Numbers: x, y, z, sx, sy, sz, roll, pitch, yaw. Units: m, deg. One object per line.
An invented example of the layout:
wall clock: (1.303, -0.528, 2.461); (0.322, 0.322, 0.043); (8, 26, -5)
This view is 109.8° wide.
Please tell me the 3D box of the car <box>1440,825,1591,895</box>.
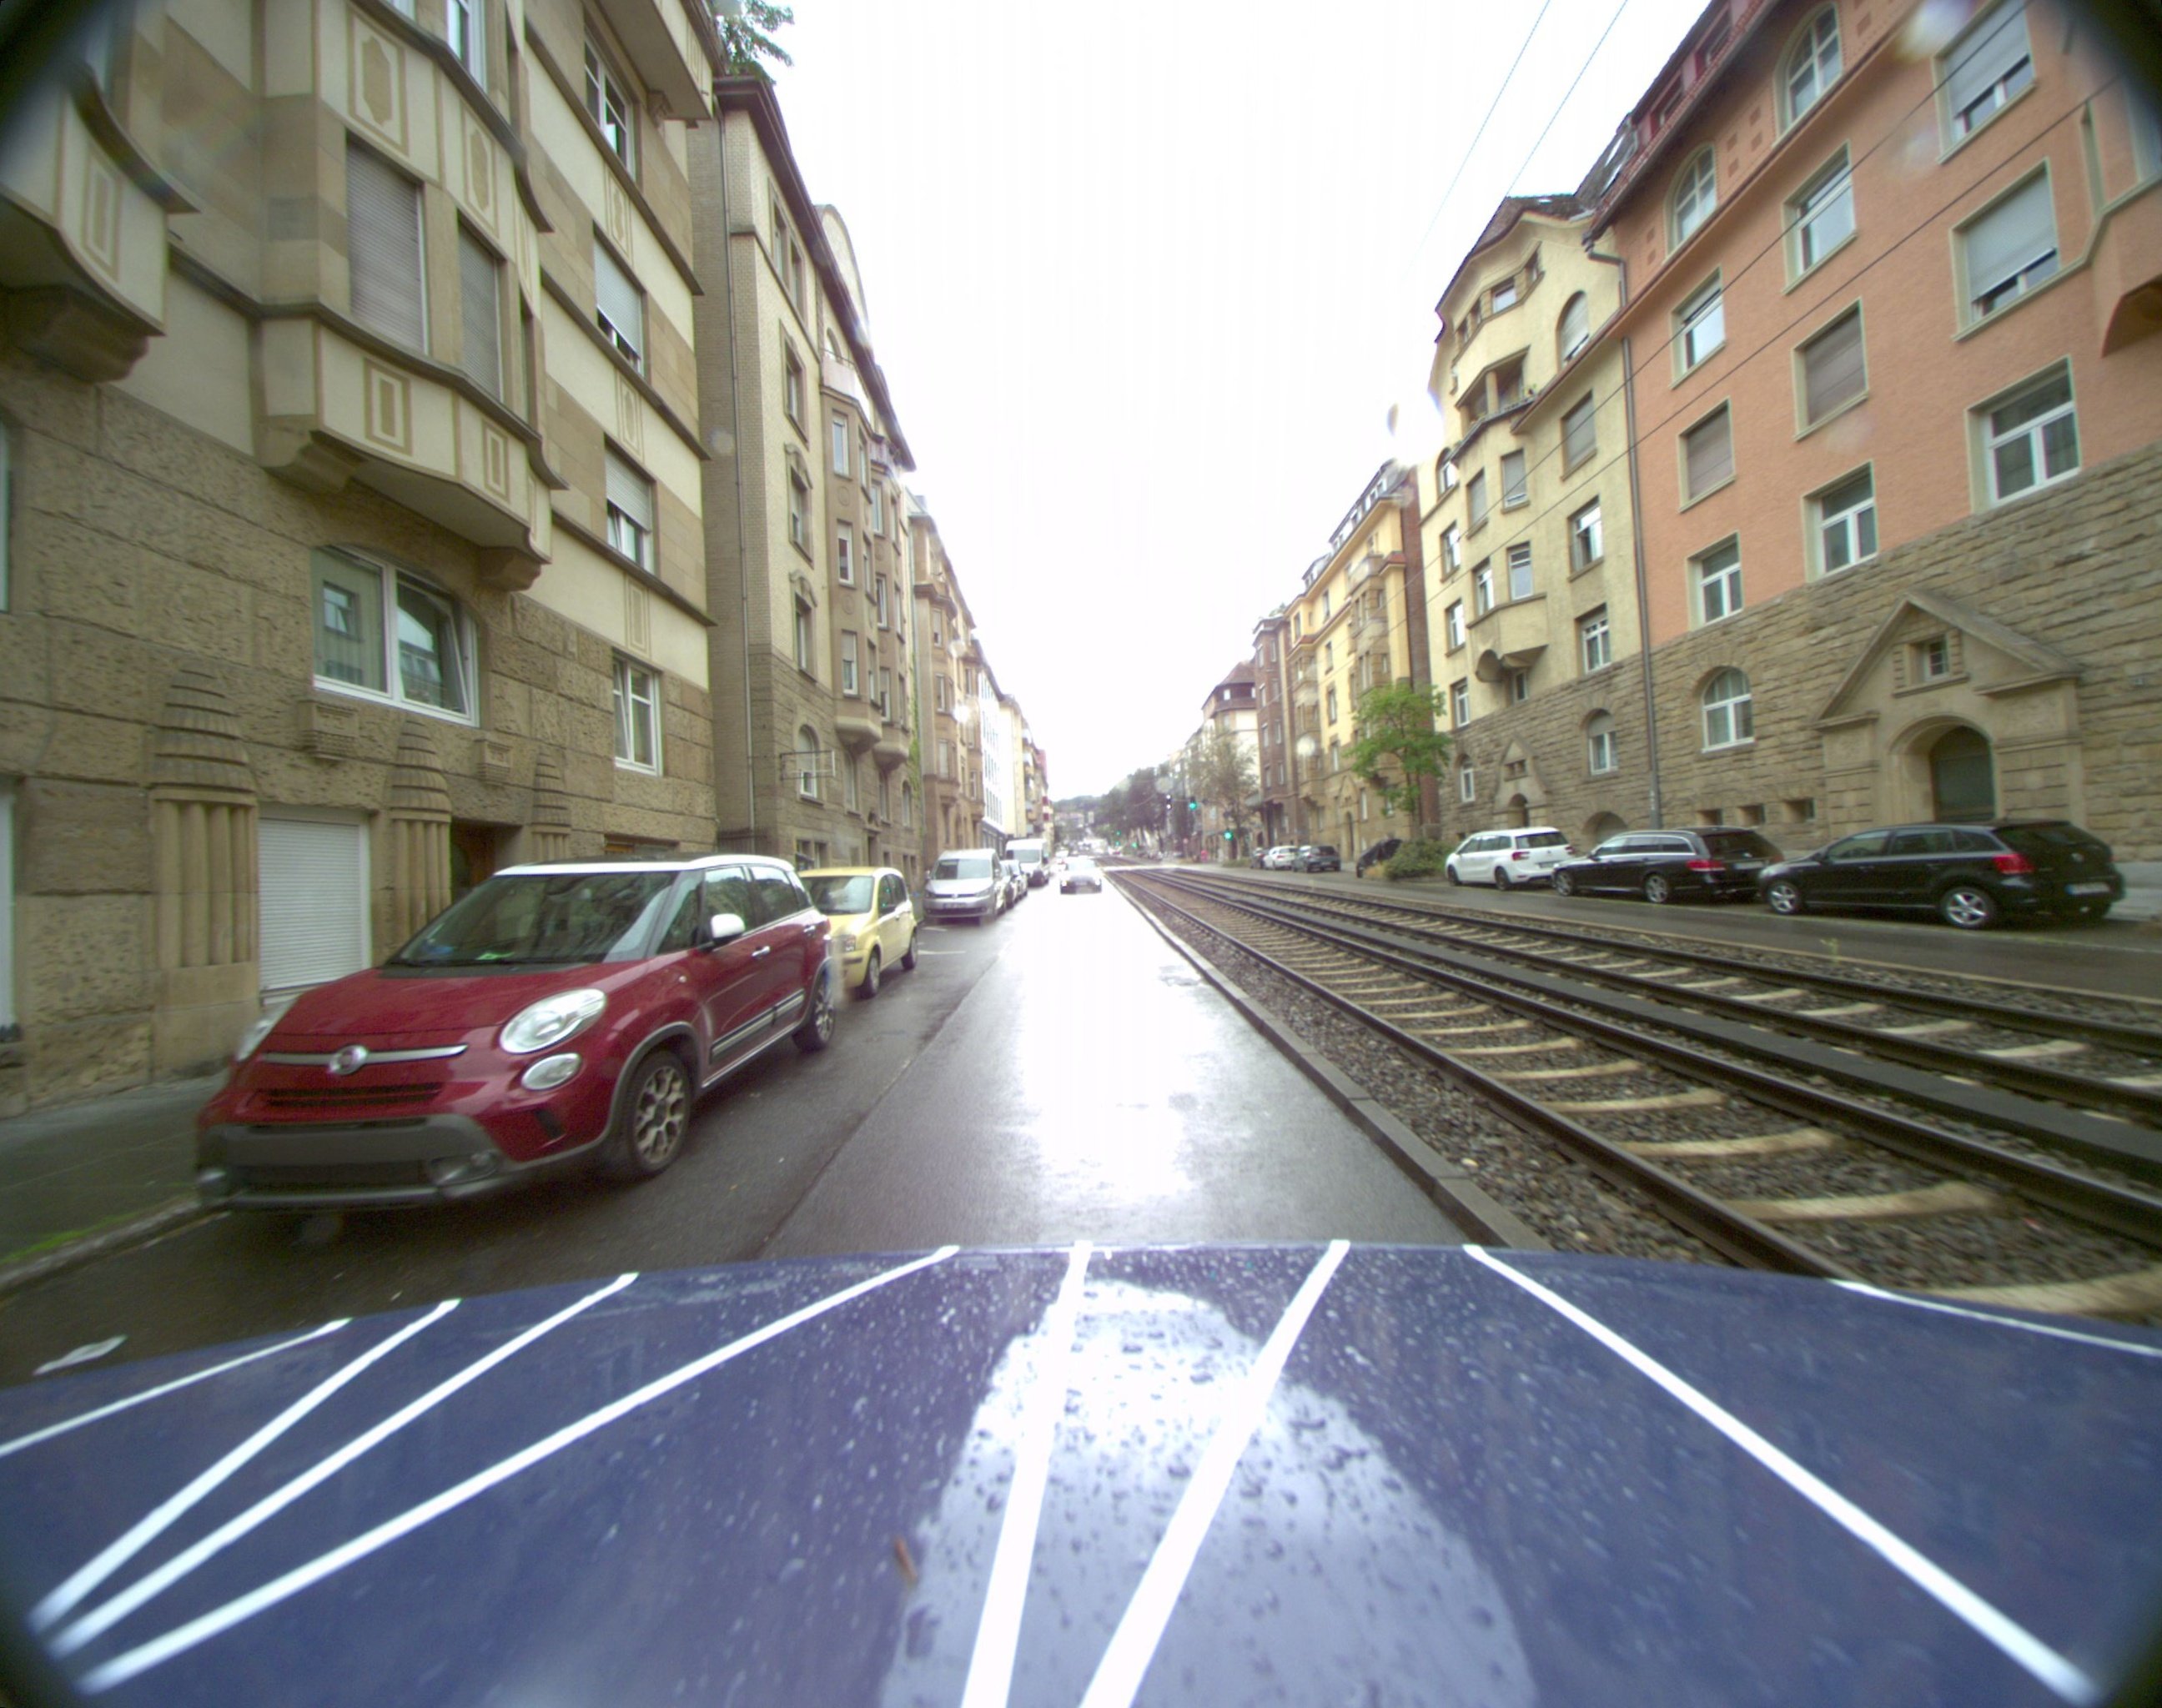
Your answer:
car: (12.234, 0.140, 21.759); (1.759, 1.663, 4.259); (-5, 1, 0)

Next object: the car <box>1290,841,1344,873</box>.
car: (12.495, 0.105, 40.417); (1.717, 1.473, 3.712); (-5, 1, 2)

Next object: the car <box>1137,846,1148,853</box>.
car: (12.764, -0.967, 158.270); (1.794, 1.339, 4.257); (-2, 1, 0)

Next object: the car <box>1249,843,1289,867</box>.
car: (12.555, 0.038, 51.012); (1.759, 1.419, 3.712); (-5, 1, 2)

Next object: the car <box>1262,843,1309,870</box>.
car: (12.436, 0.103, 46.479); (1.759, 1.443, 4.043); (-5, 1, 2)

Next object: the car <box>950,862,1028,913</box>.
car: (-2.911, 1.022, 24.811); (1.931, 1.380, 3.982); (-3, 0, 1)

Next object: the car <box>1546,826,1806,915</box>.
car: (12.212, 0.281, 16.095); (1.760, 1.482, 4.597); (-4, 1, -1)

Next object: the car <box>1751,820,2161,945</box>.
car: (12.455, 0.331, 11.190); (1.760, 1.396, 3.694); (-4, 1, -2)

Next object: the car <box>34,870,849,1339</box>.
car: (-2.965, 0.971, 4.816); (1.774, 1.592, 3.999); (-1, 0, -1)

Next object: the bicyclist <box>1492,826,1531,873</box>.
bicyclist: (14.991, -0.161, 26.463); (0.894, 1.592, 0.774); (-2, 1, 1)

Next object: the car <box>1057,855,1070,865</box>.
car: (-2.657, 0.893, 116.636); (1.794, 1.459, 4.257); (-2, 1, 1)

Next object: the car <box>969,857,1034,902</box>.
car: (-2.988, 0.930, 29.435); (1.935, 1.516, 4.058); (-3, 0, 1)

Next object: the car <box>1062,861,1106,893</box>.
car: (0.154, 0.934, 32.686); (1.737, 1.262, 4.258); (0, 0, 1)

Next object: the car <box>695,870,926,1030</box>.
car: (-3.181, 1.035, 9.700); (1.632, 1.502, 3.531); (-3, 0, -1)

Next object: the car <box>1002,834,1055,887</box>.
car: (-2.710, 0.321, 40.650); (1.991, 2.520, 6.155); (-3, 0, 3)

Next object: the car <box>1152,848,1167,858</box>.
car: (12.000, -0.194, 116.364); (1.794, 1.339, 4.257); (-2, 1, 0)

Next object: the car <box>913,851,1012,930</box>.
car: (-2.942, 0.841, 19.669); (1.811, 1.758, 3.962); (-2, 0, 1)

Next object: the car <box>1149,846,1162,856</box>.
car: (12.539, -0.588, 127.832); (1.794, 1.609, 4.257); (-2, 1, 0)
